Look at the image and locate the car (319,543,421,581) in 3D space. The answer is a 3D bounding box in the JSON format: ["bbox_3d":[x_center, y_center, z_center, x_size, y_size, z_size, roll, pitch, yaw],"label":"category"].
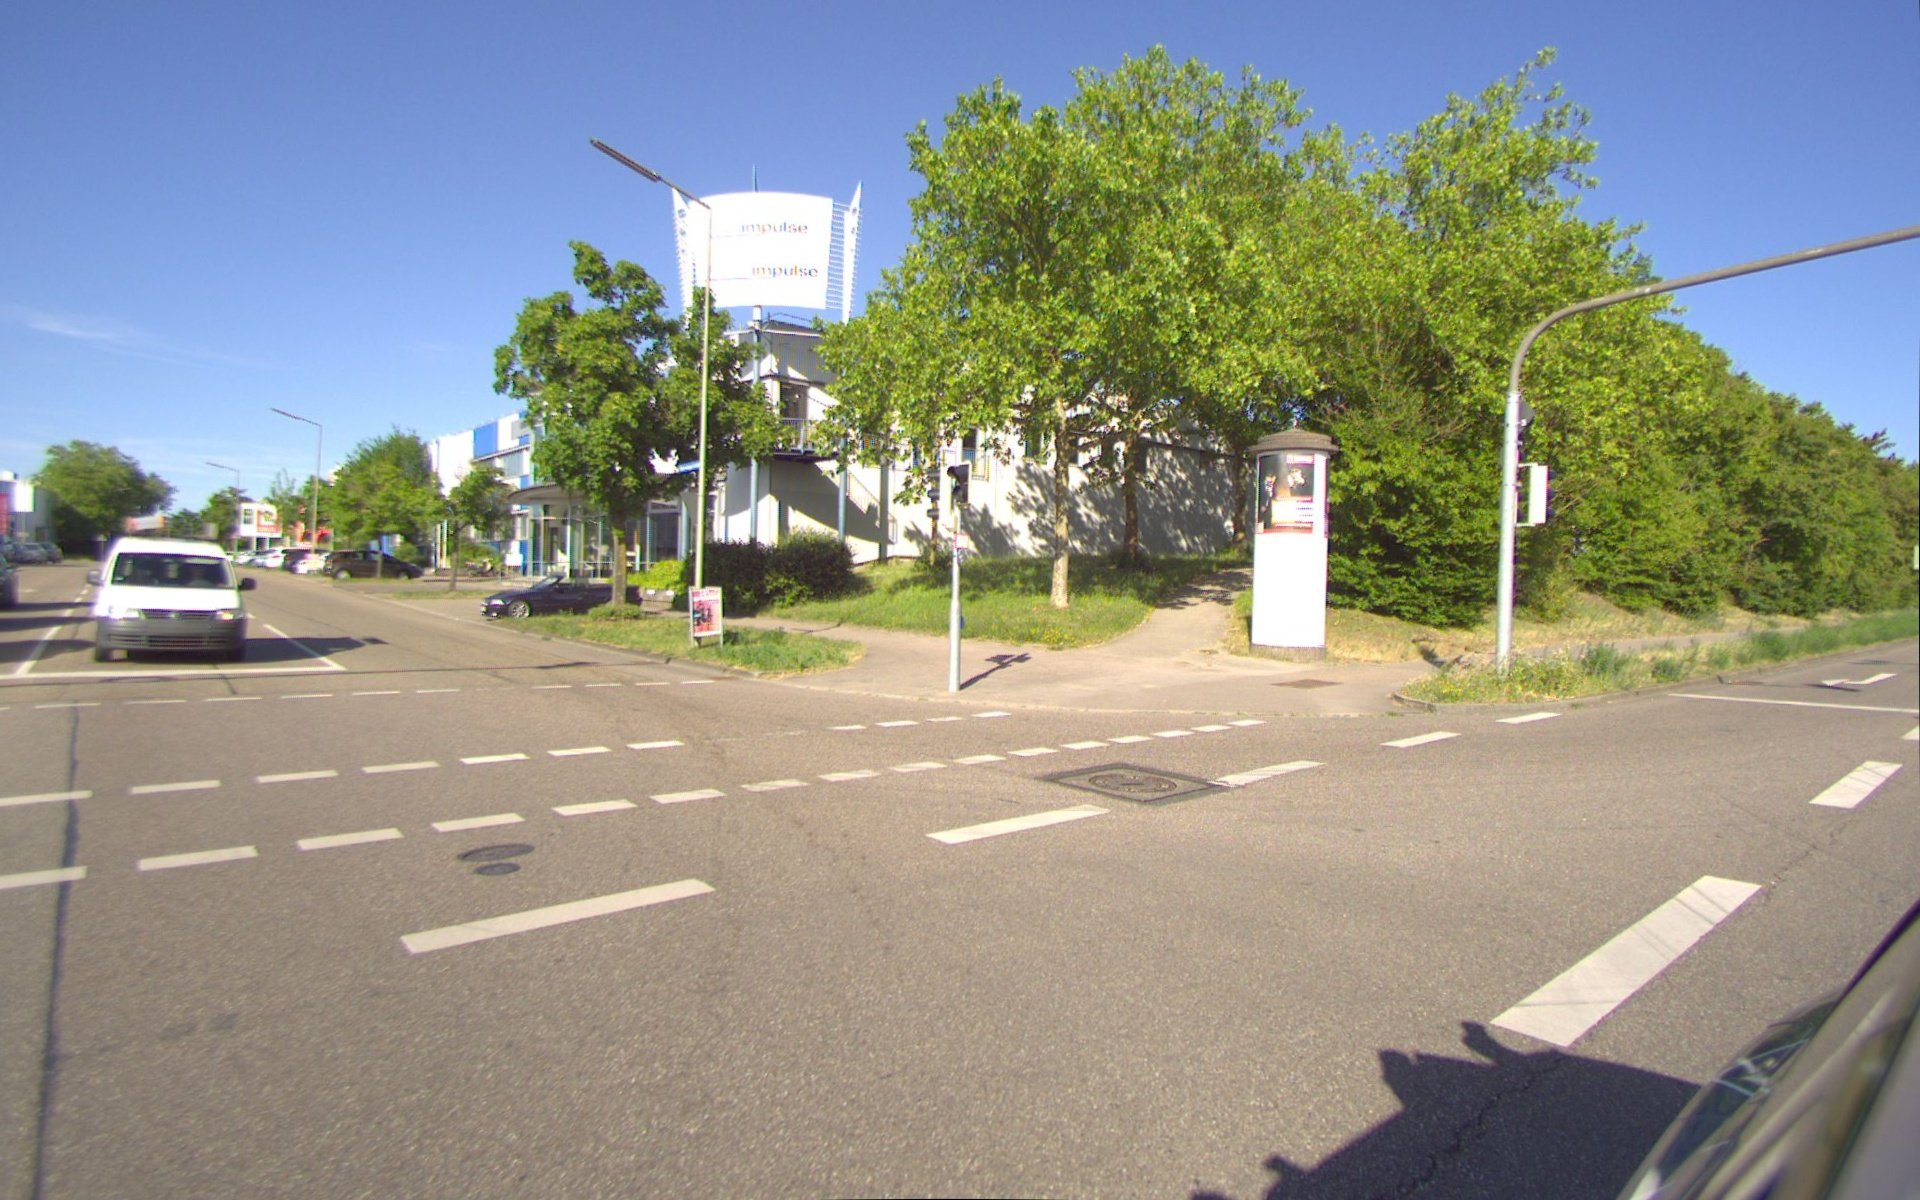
[{"bbox_3d":[-30.110,-1.915,51.712,4.286,1.859,1.720,-1,1,-41],"label":"car"}]

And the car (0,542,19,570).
[{"bbox_3d":[-58.119,-2.658,60.625,1.962,1.618,4.001,0,2,-34],"label":"car"}]

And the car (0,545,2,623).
[{"bbox_3d":[-19.412,-0.247,18.989,1.776,1.609,3.928,-2,3,-39],"label":"car"}]

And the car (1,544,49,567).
[{"bbox_3d":[-67.388,-3.230,73.029,1.962,1.618,4.002,0,3,-34],"label":"car"}]

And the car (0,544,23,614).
[{"bbox_3d":[-24.005,-0.547,24.404,1.776,1.609,3.928,-2,3,-39],"label":"car"}]

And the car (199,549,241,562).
[{"bbox_3d":[-88.379,-5.276,120.876,3.927,1.381,1.780,-1,0,-38],"label":"car"}]

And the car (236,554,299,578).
[{"bbox_3d":[-57.185,-2.794,83.597,4.078,1.874,1.720,-1,1,-41],"label":"car"}]

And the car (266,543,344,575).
[{"bbox_3d":[-44.409,-2.740,68.673,4.286,2.044,1.720,0,2,-41],"label":"car"}]

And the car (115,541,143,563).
[{"bbox_3d":[-82.837,-4.733,100.922,1.671,2.039,4.002,0,0,-33],"label":"car"}]

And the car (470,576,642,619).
[{"bbox_3d":[-11.500,-0.105,28.983,4.287,1.137,1.719,-1,2,-42],"label":"car"}]

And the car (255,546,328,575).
[{"bbox_3d":[-48.920,-2.852,74.062,4.286,2.008,1.720,-1,1,-41],"label":"car"}]

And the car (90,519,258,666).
[{"bbox_3d":[-12.304,-0.161,15.815,1.839,1.958,4.691,0,2,-39],"label":"car"}]

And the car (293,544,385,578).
[{"bbox_3d":[-35.964,-2.258,58.659,4.286,1.858,1.720,0,2,-41],"label":"car"}]

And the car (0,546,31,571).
[{"bbox_3d":[-63.904,-2.795,67.770,1.962,1.618,4.001,0,2,-34],"label":"car"}]
